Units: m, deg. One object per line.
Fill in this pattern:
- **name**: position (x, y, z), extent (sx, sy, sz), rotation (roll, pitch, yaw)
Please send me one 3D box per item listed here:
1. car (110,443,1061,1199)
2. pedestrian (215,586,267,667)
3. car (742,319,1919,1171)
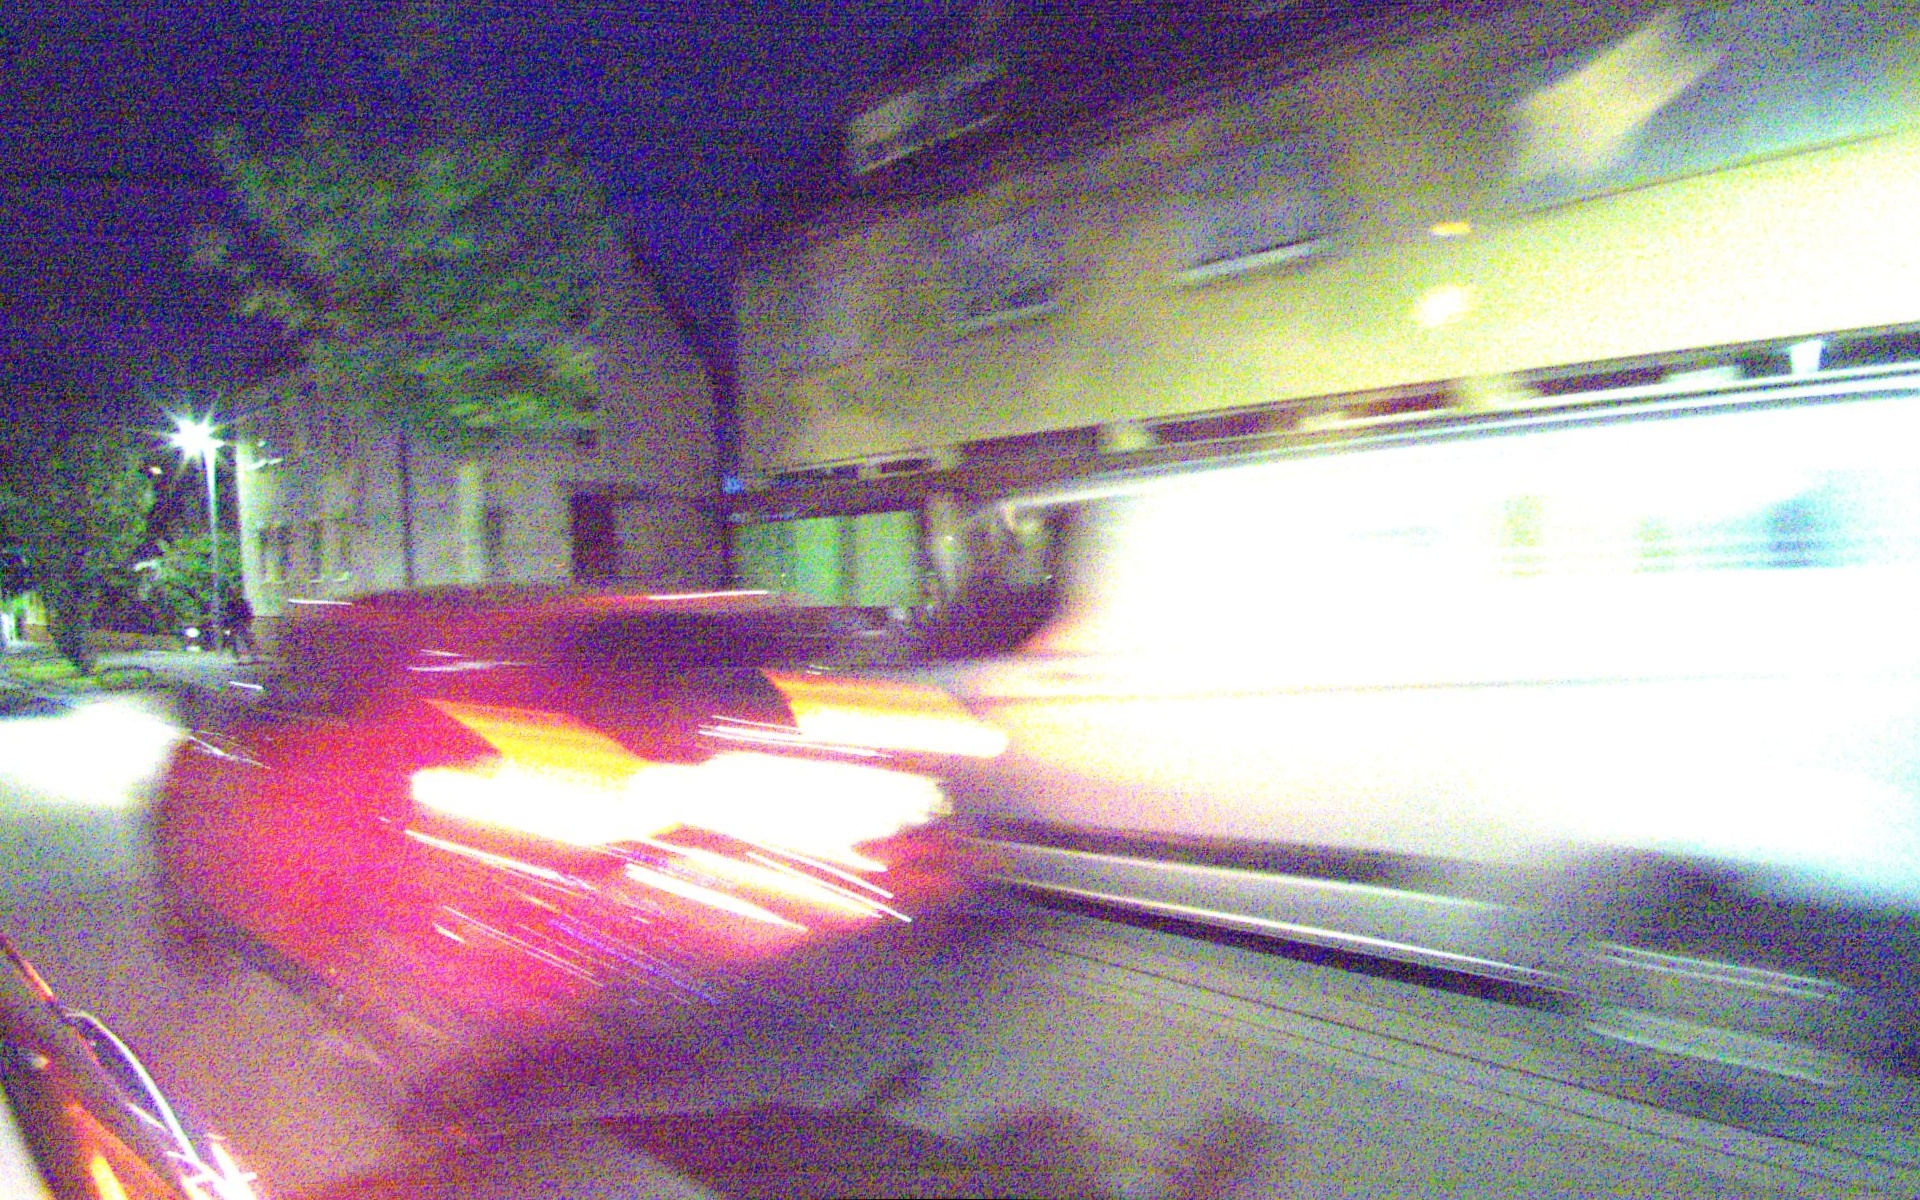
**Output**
- **car**: position (-1.738, 0.589, 3.838), extent (3.960, 1.728, 1.701), rotation (-1, 0, 42)
- **pedestrian**: position (-17.696, 0.637, 24.907), extent (0.829, 1.917, 0.737), rotation (-1, 3, 40)
- **car**: position (1.539, 0.323, 4.190), extent (4.882, 1.961, 2.096), rotation (-2, 2, 39)
